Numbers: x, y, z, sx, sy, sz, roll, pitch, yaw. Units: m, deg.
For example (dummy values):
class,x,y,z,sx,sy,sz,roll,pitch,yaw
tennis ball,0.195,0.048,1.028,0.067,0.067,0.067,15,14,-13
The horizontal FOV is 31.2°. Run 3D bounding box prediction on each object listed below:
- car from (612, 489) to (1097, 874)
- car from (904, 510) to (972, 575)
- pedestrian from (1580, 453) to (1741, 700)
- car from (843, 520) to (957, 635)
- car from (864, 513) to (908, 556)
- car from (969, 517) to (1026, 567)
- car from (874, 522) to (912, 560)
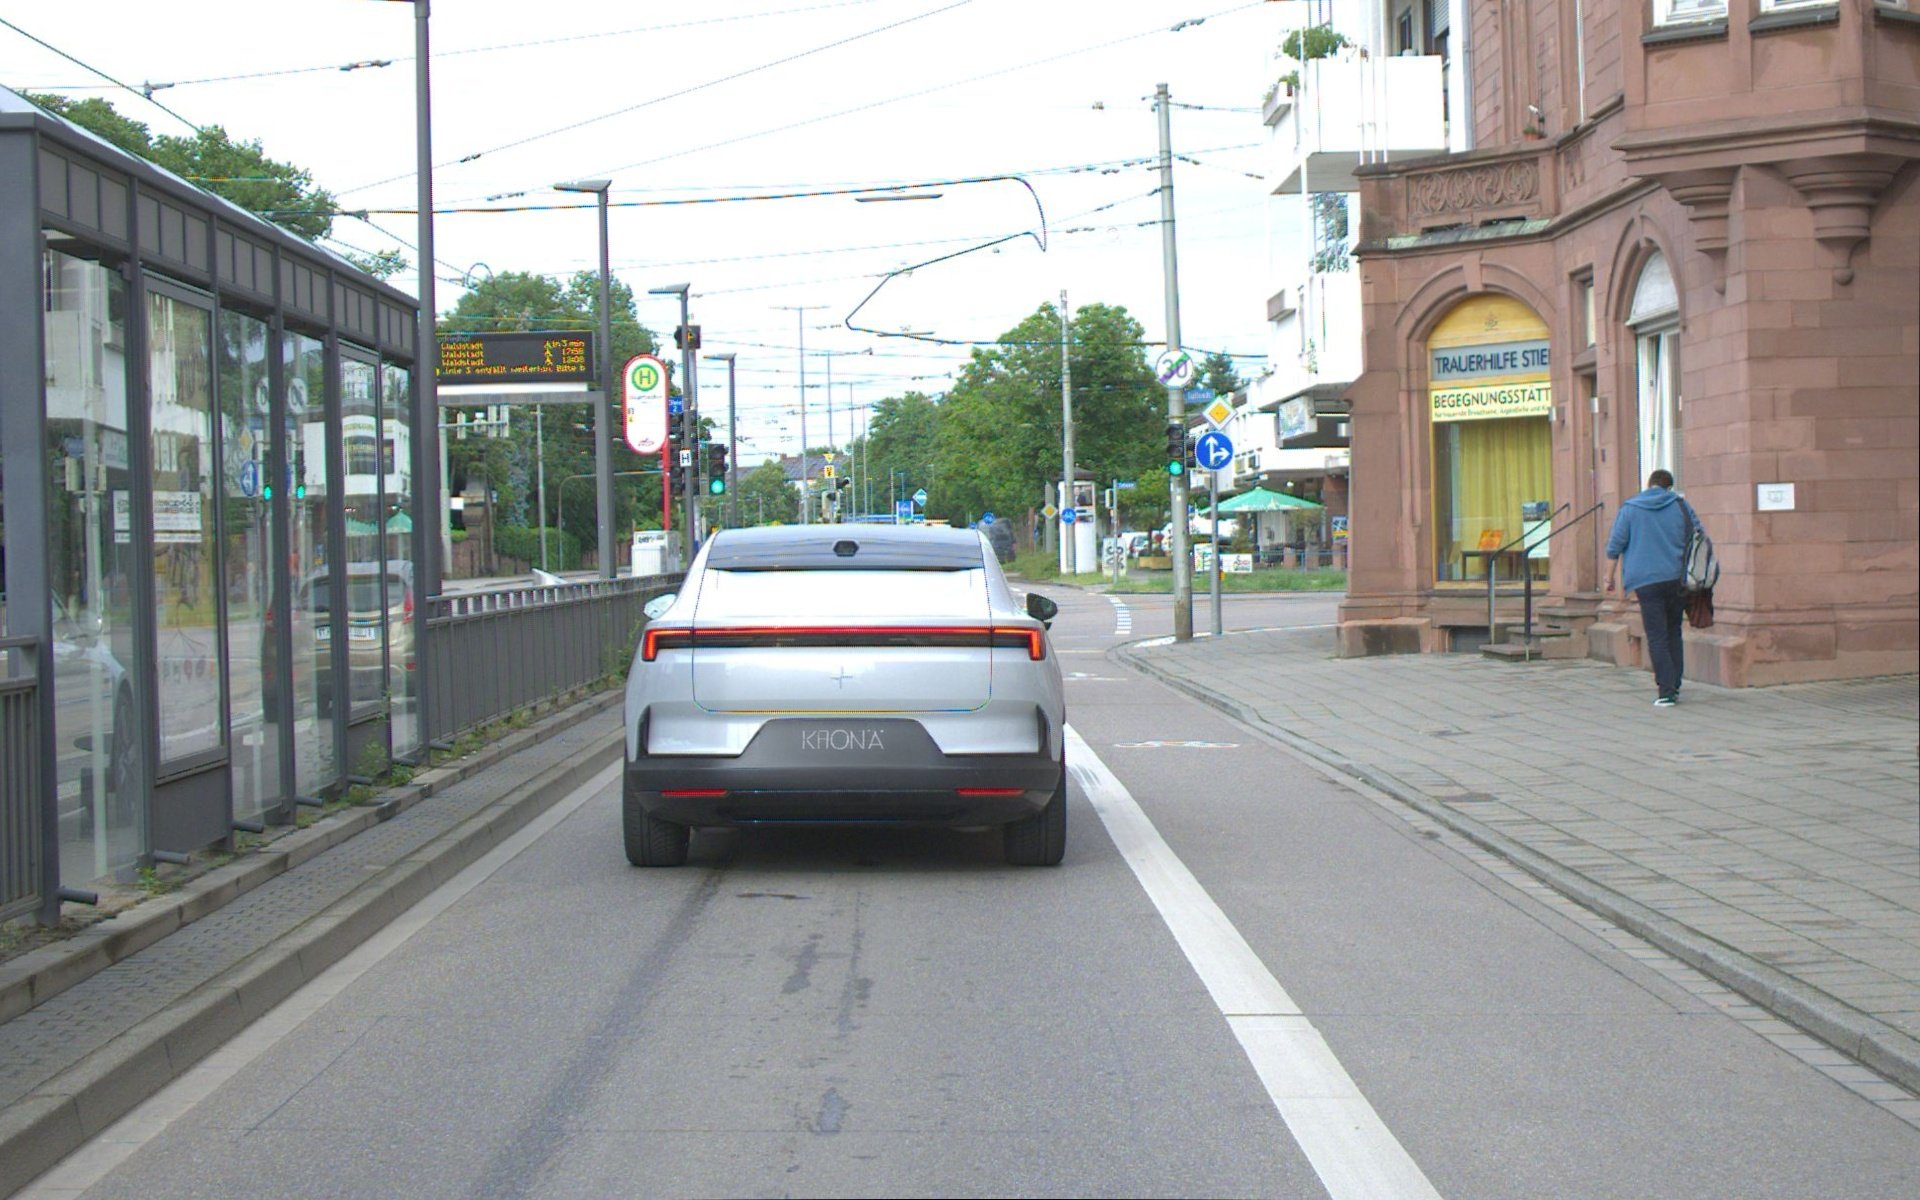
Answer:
class,x,y,z,sx,sy,sz,roll,pitch,yaw
car,-0.601,0.325,16.161,1.999,1.575,4.001,0,0,-5
car,-0.852,-2.121,128.457,2.225,2.394,5.124,0,0,-4
pedestrian,5.457,-0.193,26.837,0.961,1.843,0.975,-3,1,0
car,-0.889,-0.345,52.529,1.681,1.682,3.824,0,0,0
car,-3.488,-3.102,162.455,1.993,2.007,4.000,-1,1,-1
car,1.902,-2.945,175.028,2.807,2.496,5.722,0,0,0
car,-3.572,-3.179,184.188,1.993,2.007,4.000,-1,1,-1
